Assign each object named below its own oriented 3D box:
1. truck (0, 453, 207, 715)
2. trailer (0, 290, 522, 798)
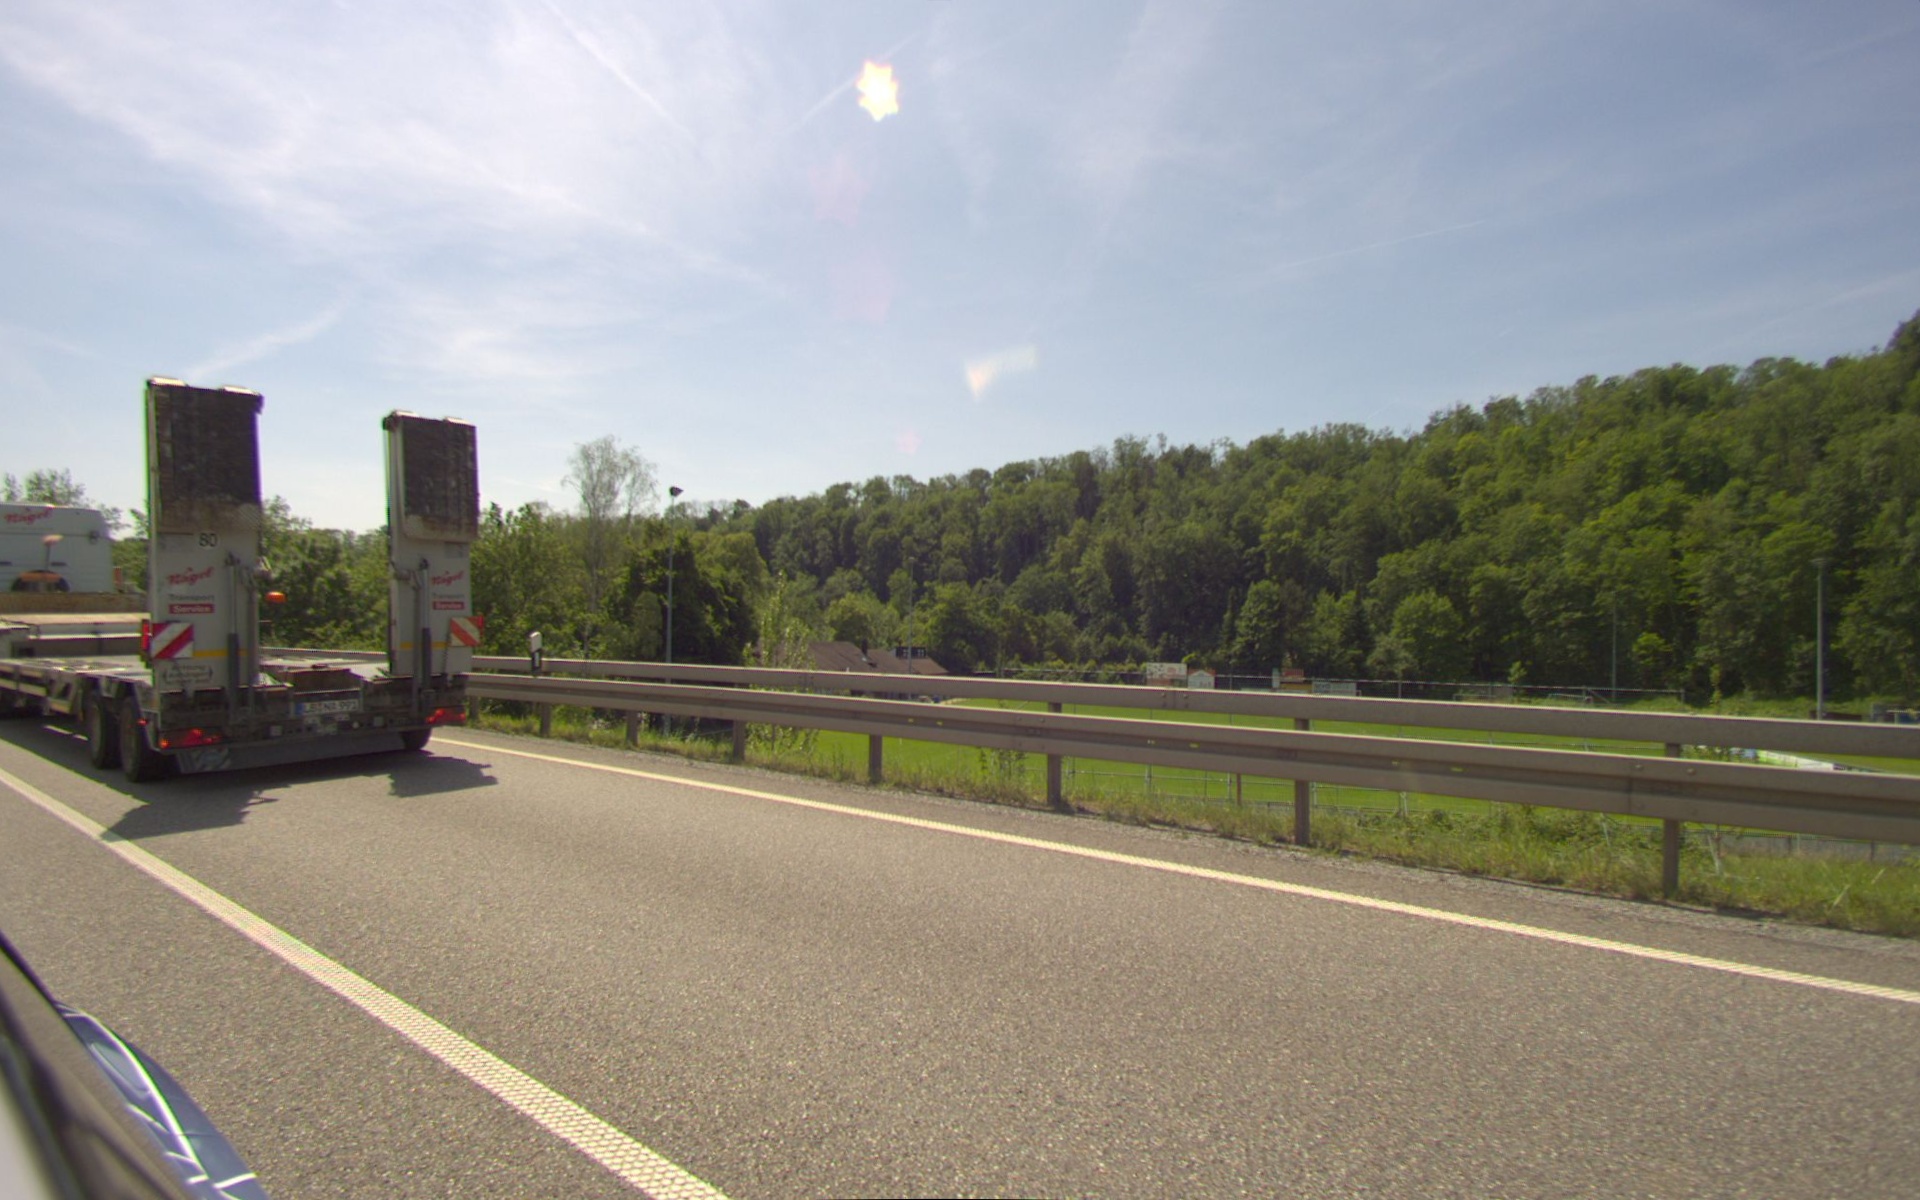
[{"bbox_3d":[-16.470,-0.179,18.303,6.615,3.988,3.087,-1,-1,40],"label":"truck"},{"bbox_3d":[-11.370,-0.297,14.091,15.341,4.010,3.087,-1,-1,40],"label":"trailer"}]
